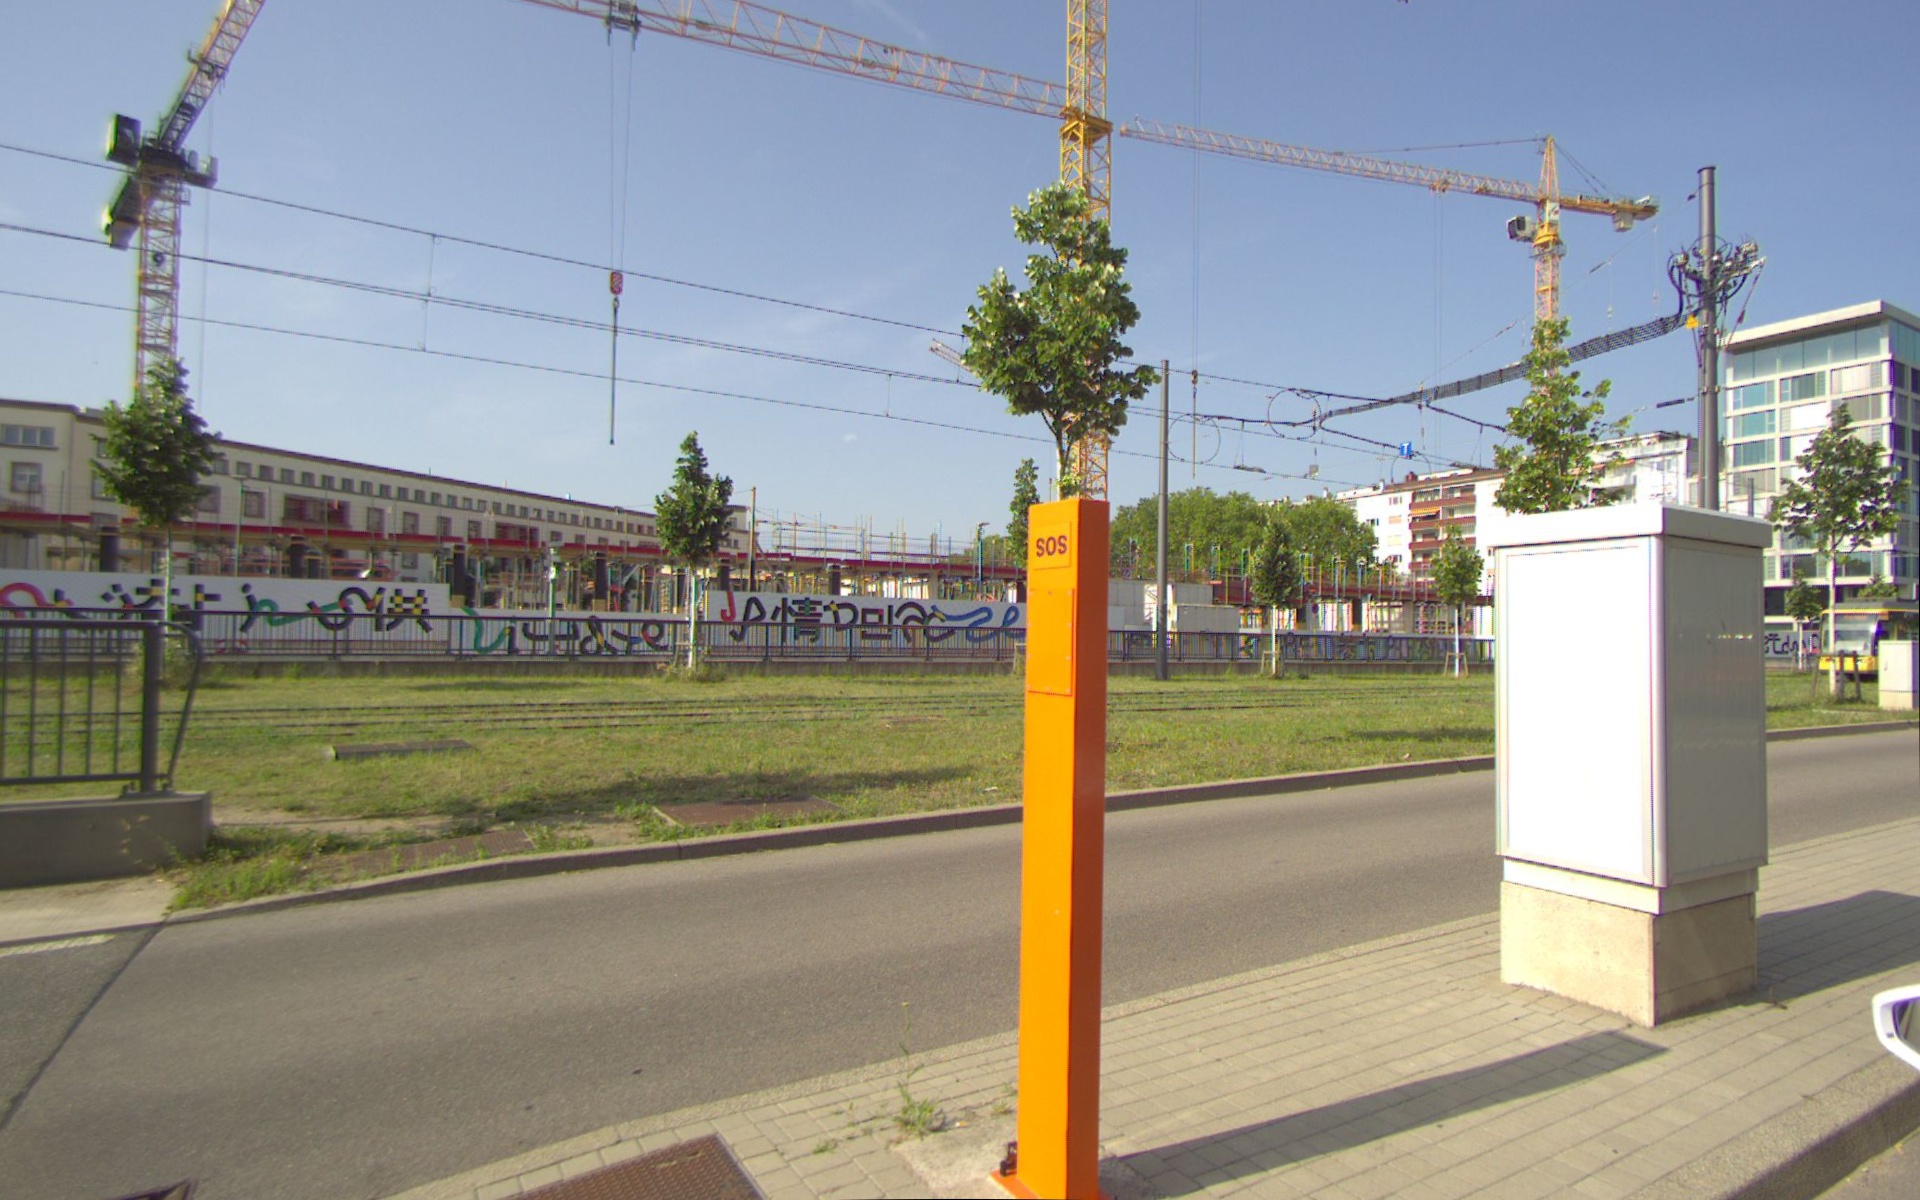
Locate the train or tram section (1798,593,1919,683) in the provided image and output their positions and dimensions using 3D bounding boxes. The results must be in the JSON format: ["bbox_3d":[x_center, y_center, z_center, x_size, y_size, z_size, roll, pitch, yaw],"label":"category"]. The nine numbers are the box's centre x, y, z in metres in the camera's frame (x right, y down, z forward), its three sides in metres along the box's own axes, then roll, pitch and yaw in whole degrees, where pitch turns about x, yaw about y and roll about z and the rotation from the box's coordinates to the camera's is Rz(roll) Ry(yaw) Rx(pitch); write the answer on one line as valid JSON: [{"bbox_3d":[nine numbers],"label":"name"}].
[{"bbox_3d":[42.606,1.720,44.826,14.715,3.583,2.849,2,-2,-29],"label":"train or tram section"}]
